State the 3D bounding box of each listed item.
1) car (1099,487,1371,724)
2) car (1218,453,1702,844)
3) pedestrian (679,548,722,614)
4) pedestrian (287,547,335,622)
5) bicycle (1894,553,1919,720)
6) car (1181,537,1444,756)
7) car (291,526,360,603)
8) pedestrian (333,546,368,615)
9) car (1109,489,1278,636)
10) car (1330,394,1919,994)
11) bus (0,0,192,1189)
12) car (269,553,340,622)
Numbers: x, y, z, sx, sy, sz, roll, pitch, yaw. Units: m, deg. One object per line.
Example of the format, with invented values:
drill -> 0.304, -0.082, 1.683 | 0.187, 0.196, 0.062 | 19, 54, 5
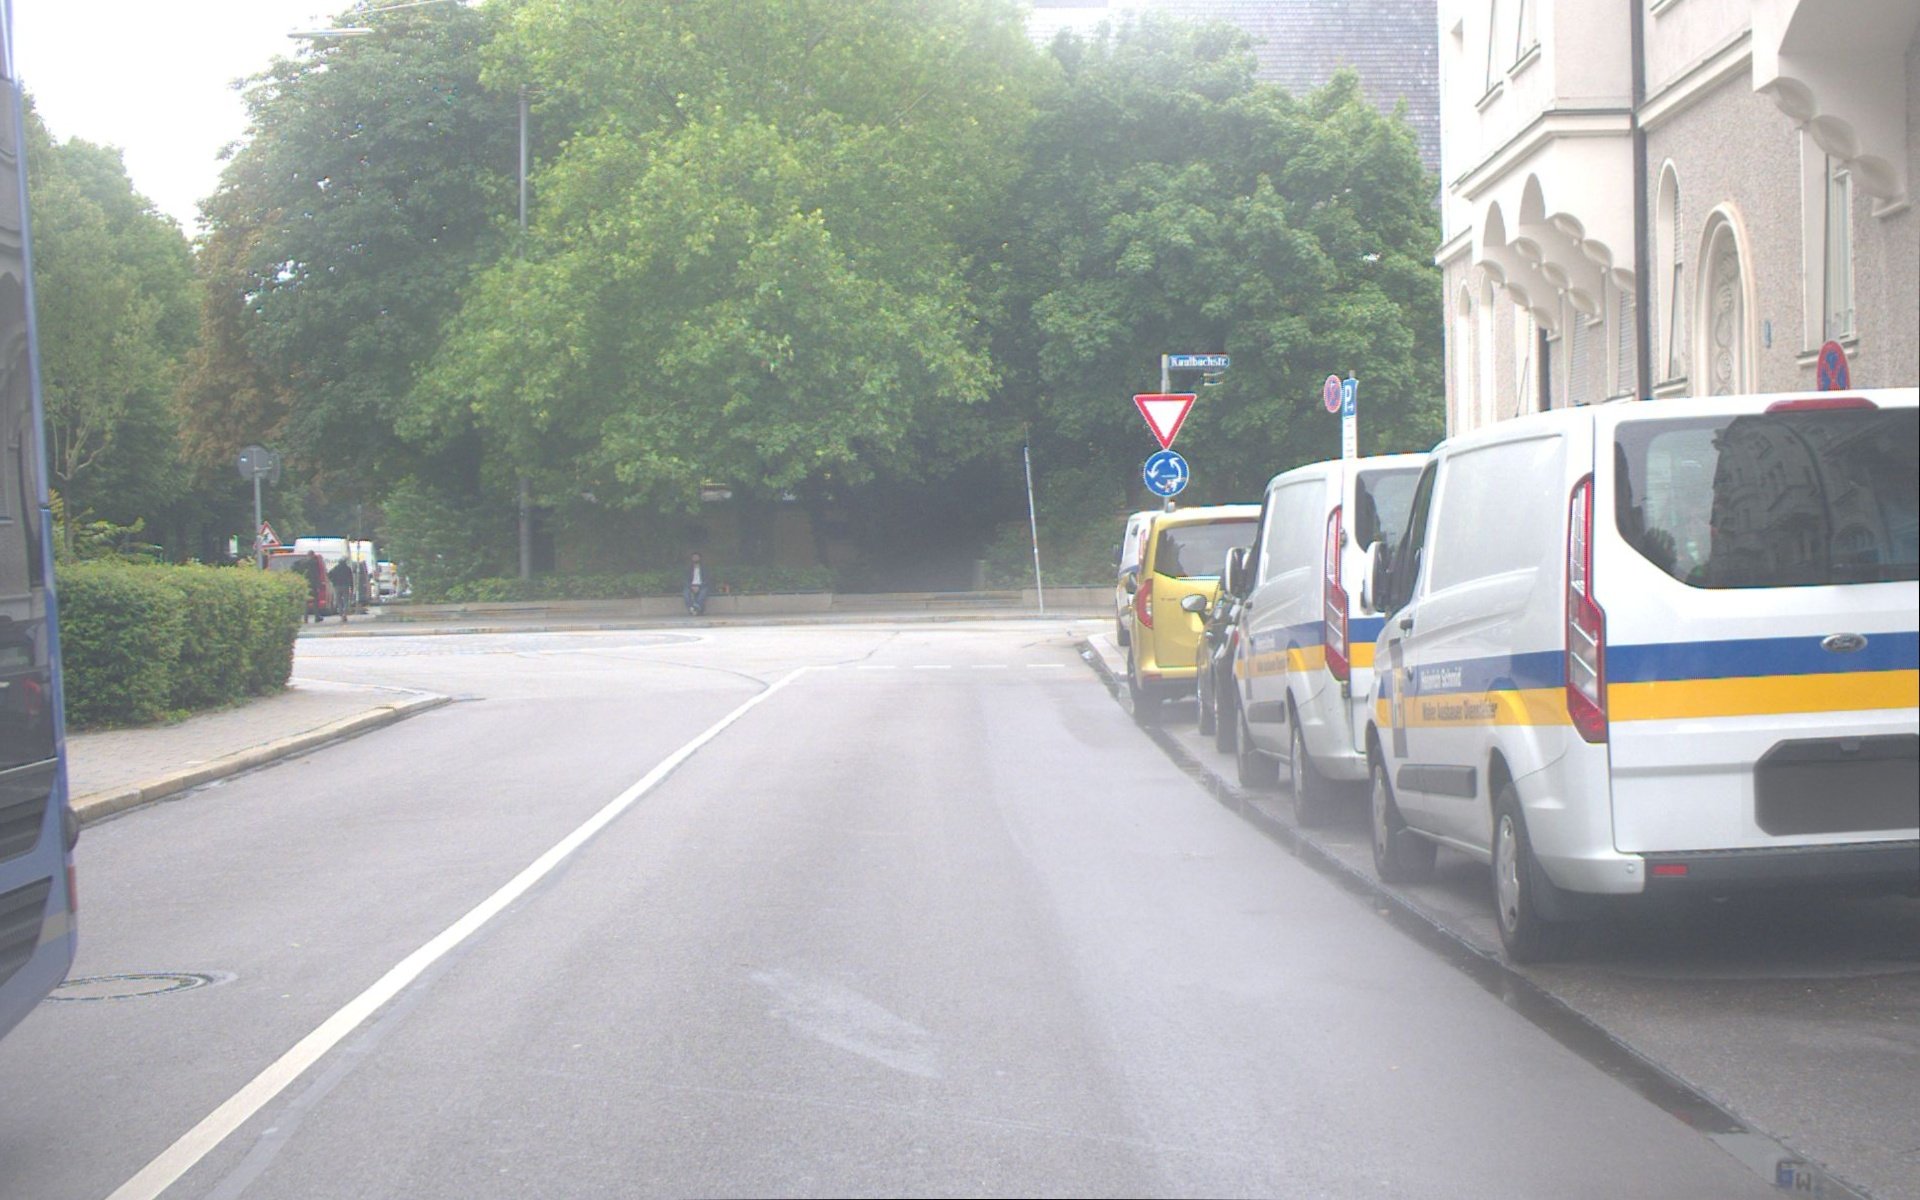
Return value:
car -> 2.361, 0.007, 30.640 | 1.993, 1.911, 4.571 | -1, 1, 0
car -> 2.684, 0.207, 19.625 | 1.993, 1.911, 4.886 | -1, 1, 0
pedestrian -> -5.432, -0.403, 72.041 | 0.769, 1.352, 1.131 | -1, 1, 2
pedestrian -> -15.981, -0.387, 84.639 | 0.820, 1.830, 0.952 | -2, 1, -35
bicycle -> 6.858, 0.248, 23.145 | 0.666, 1.129, 1.722 | -1, 1, 1
car -> 2.591, 0.293, 26.023 | 1.633, 1.509, 3.885 | -1, 1, 1
car -> -21.643, -1.212, 117.410 | 1.993, 2.549, 5.431 | -1, 1, -7
pedestrian -> -14.995, -0.480, 84.581 | 0.633, 1.661, 0.697 | -2, 1, -30
car -> 3.286, -0.555, 49.312 | 1.938, 1.915, 5.375 | -2, 1, 0
car -> 2.807, 0.260, 13.565 | 1.993, 1.911, 4.879 | -1, 1, -2
bus -> -3.822, -0.110, 0.499 | 3.171, 3.201, 18.058 | -3, 1, 0
car -> -19.320, -0.386, 101.485 | 1.911, 1.930, 4.970 | -1, 1, -10
